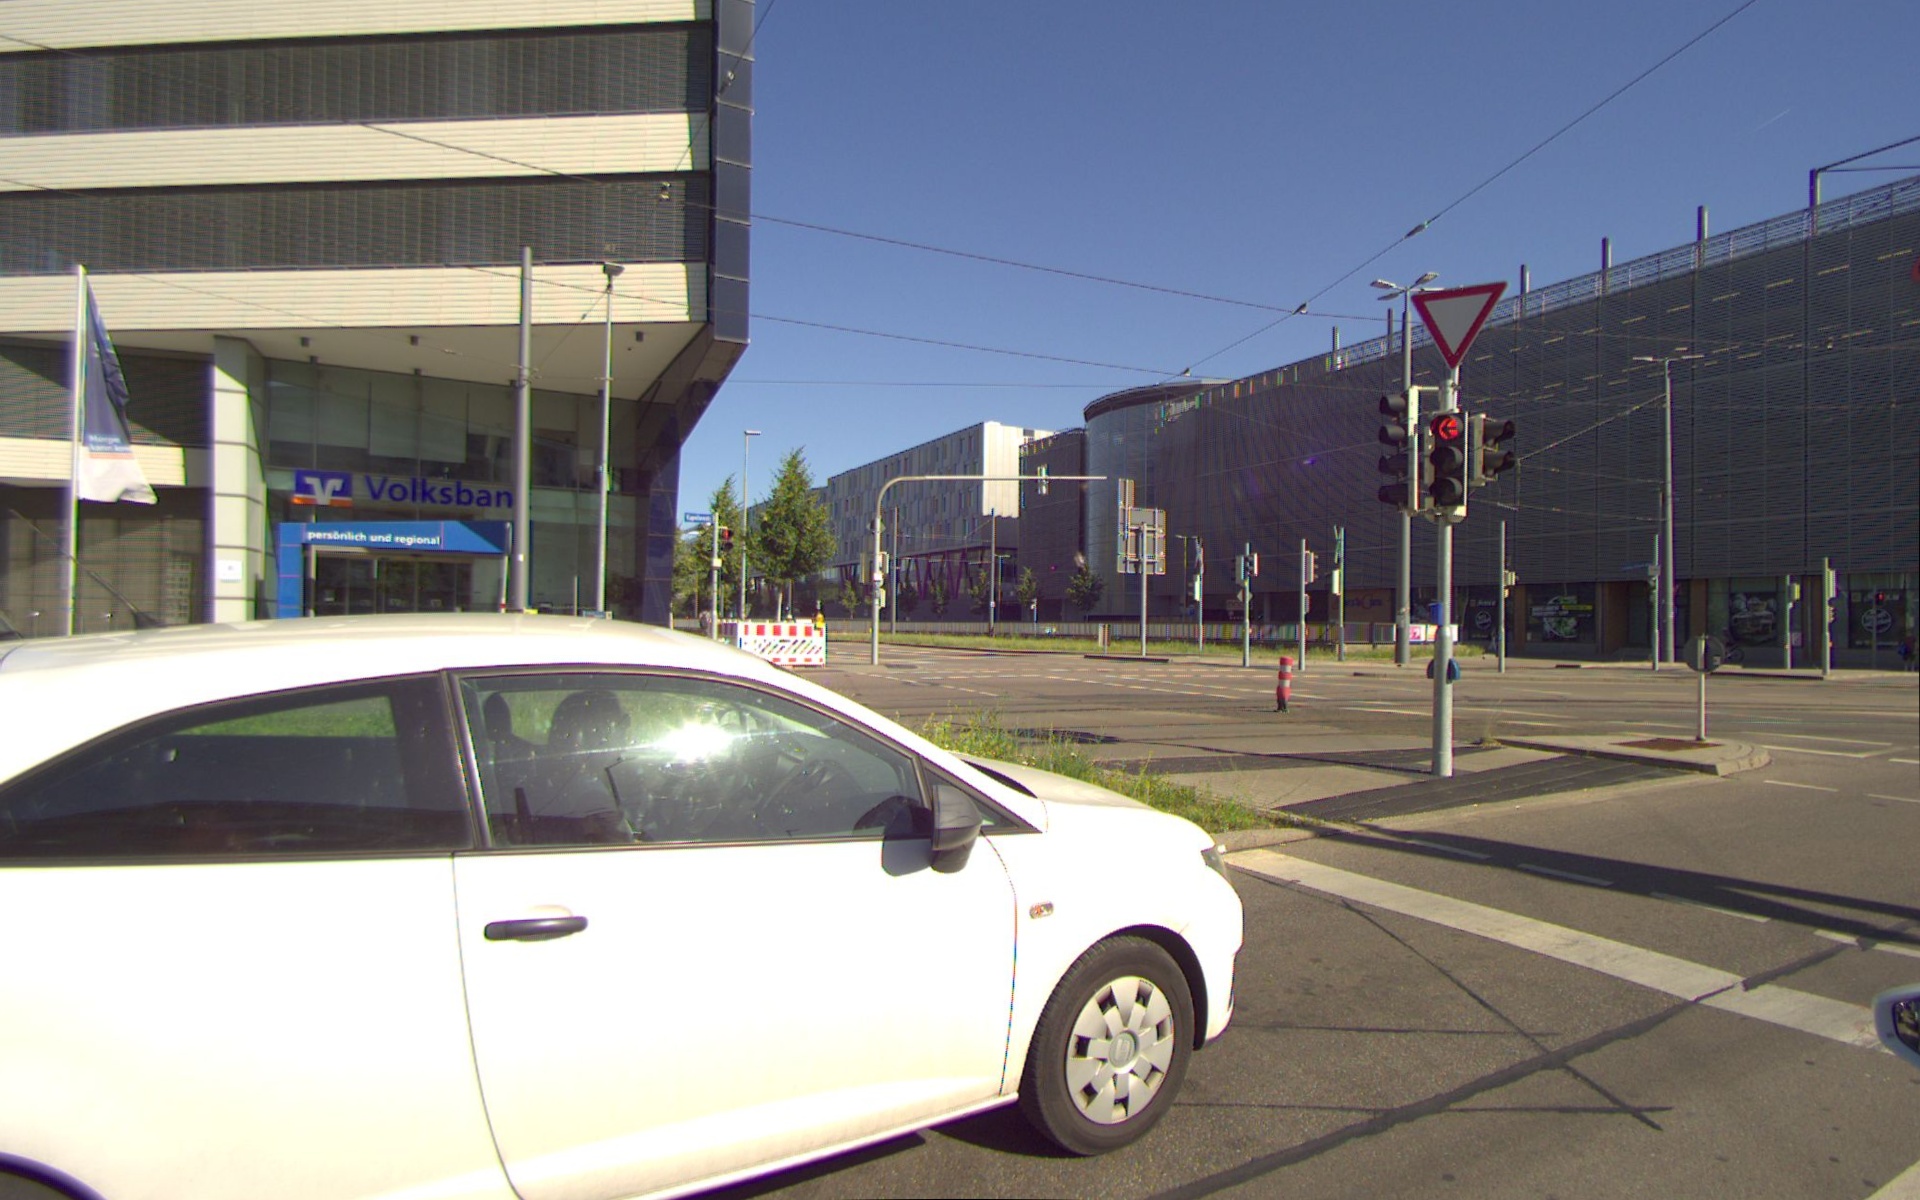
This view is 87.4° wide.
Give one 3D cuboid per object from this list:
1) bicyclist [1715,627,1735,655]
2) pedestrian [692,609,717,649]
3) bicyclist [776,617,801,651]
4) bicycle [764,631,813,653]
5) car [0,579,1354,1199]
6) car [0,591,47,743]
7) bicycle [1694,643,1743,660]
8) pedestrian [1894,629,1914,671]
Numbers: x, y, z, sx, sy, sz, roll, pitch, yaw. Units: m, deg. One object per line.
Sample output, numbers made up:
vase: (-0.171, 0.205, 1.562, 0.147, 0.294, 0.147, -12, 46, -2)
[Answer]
bicyclist: (39.454, 2.123, 51.802, 0.553, 1.429, 0.651, 1, -1, -31)
pedestrian: (-10.092, 1.142, 39.680, 0.845, 1.576, 0.610, 1, -1, -24)
bicyclist: (-7.182, 1.426, 42.103, 0.756, 1.428, 0.762, 2, -1, -42)
bicycle: (-7.210, 1.757, 42.119, 0.765, 0.851, 2.537, 2, -2, -42)
car: (-0.882, 0.740, 2.795, 3.791, 1.450, 1.656, 2, 2, -30)
car: (-13.253, 0.737, 11.417, 3.958, 1.773, 1.754, 2, -2, -33)
bicycle: (39.291, 2.660, 52.063, 0.553, 0.822, 2.005, 2, -1, -30)
pedestrian: (40.157, 2.124, 42.728, 0.616, 1.774, 0.586, 0, -1, 42)
